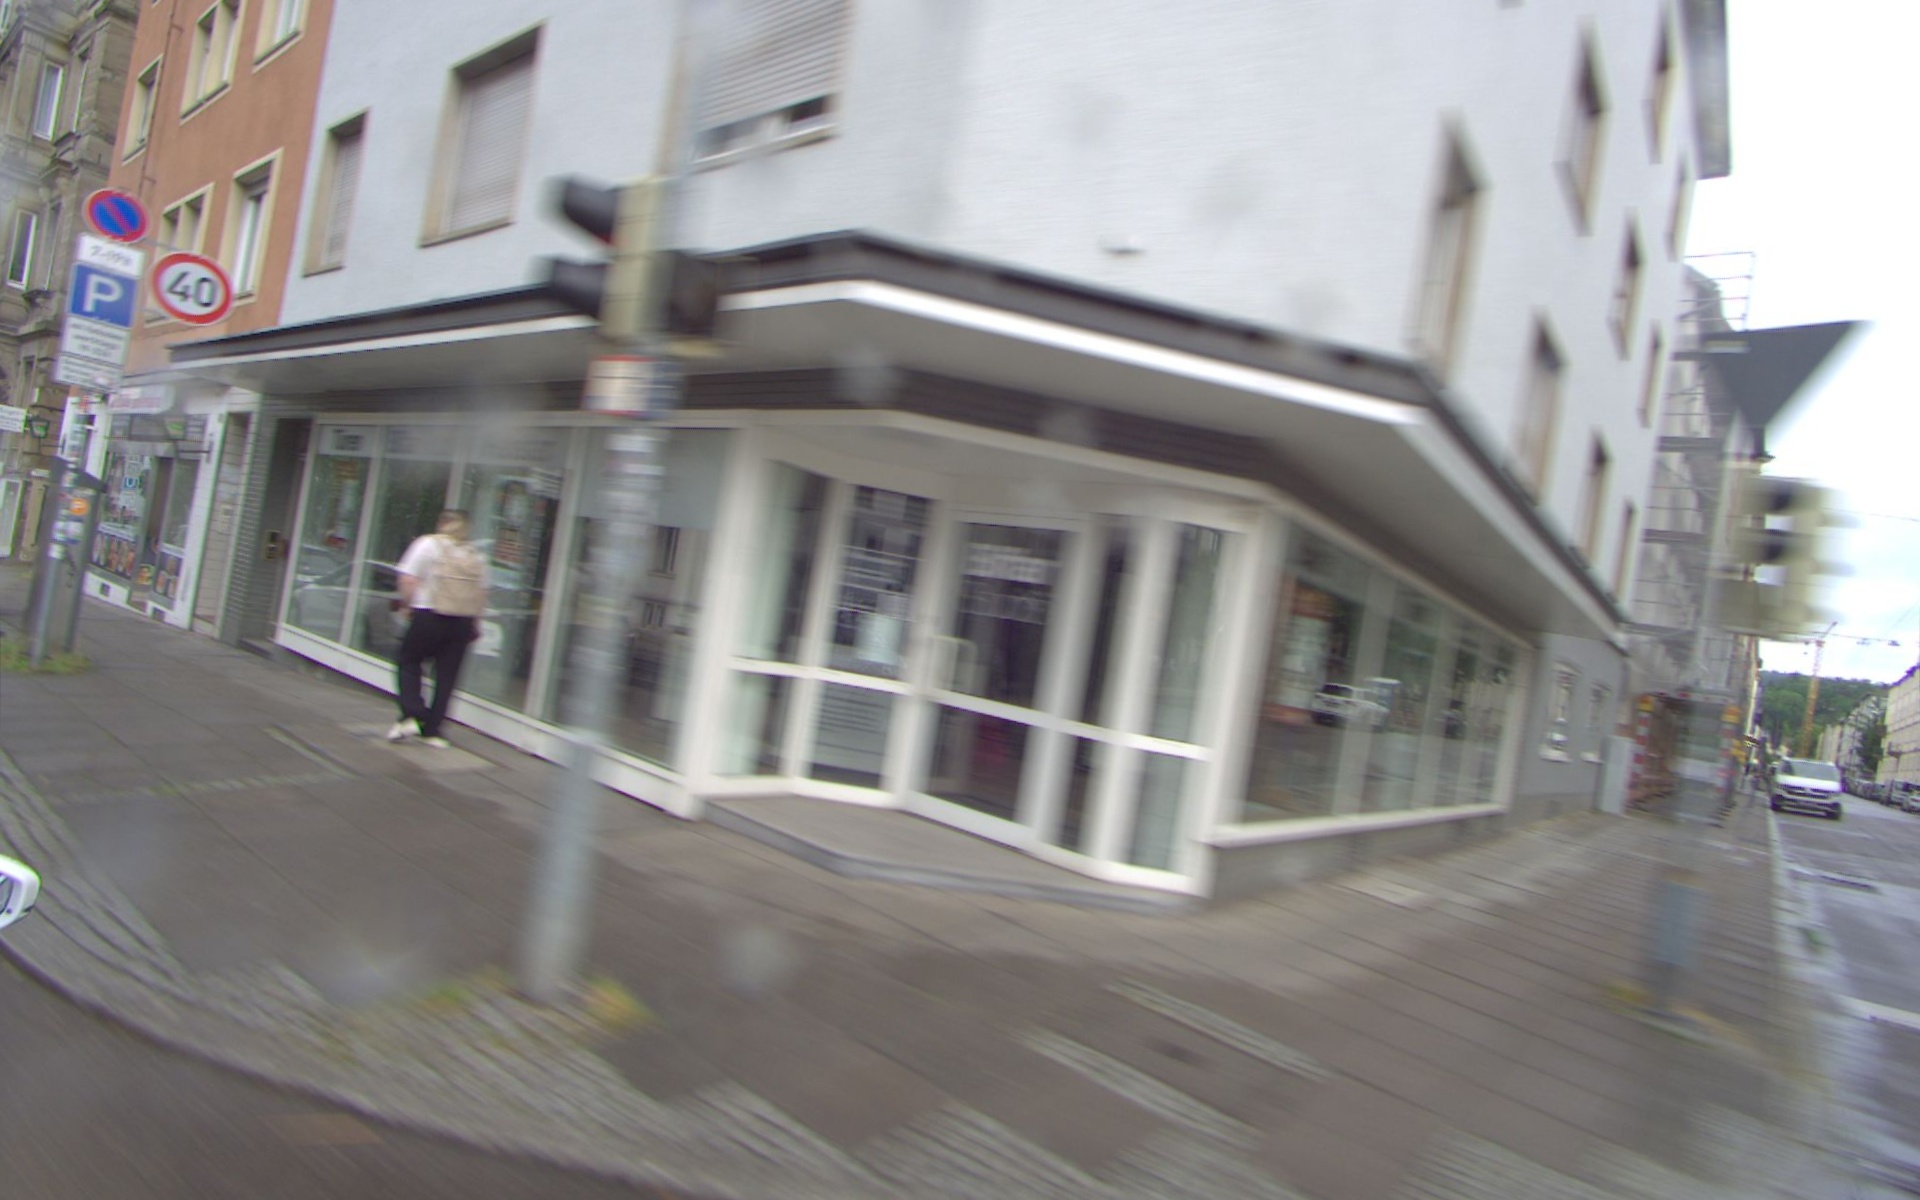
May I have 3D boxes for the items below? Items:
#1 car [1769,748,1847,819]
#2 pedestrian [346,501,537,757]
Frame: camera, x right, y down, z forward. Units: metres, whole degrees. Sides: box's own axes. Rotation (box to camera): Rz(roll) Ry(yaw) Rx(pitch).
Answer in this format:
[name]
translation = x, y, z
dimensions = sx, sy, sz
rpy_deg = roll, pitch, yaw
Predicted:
[car]
translation = 30.566, 6.555, 36.365
dimensions = 1.806, 2.094, 4.318
rpy_deg = 5, -3, 37
[pedestrian]
translation = -3.568, 0.197, 6.941
dimensions = 0.750, 1.591, 0.689
rpy_deg = 9, 1, 28
